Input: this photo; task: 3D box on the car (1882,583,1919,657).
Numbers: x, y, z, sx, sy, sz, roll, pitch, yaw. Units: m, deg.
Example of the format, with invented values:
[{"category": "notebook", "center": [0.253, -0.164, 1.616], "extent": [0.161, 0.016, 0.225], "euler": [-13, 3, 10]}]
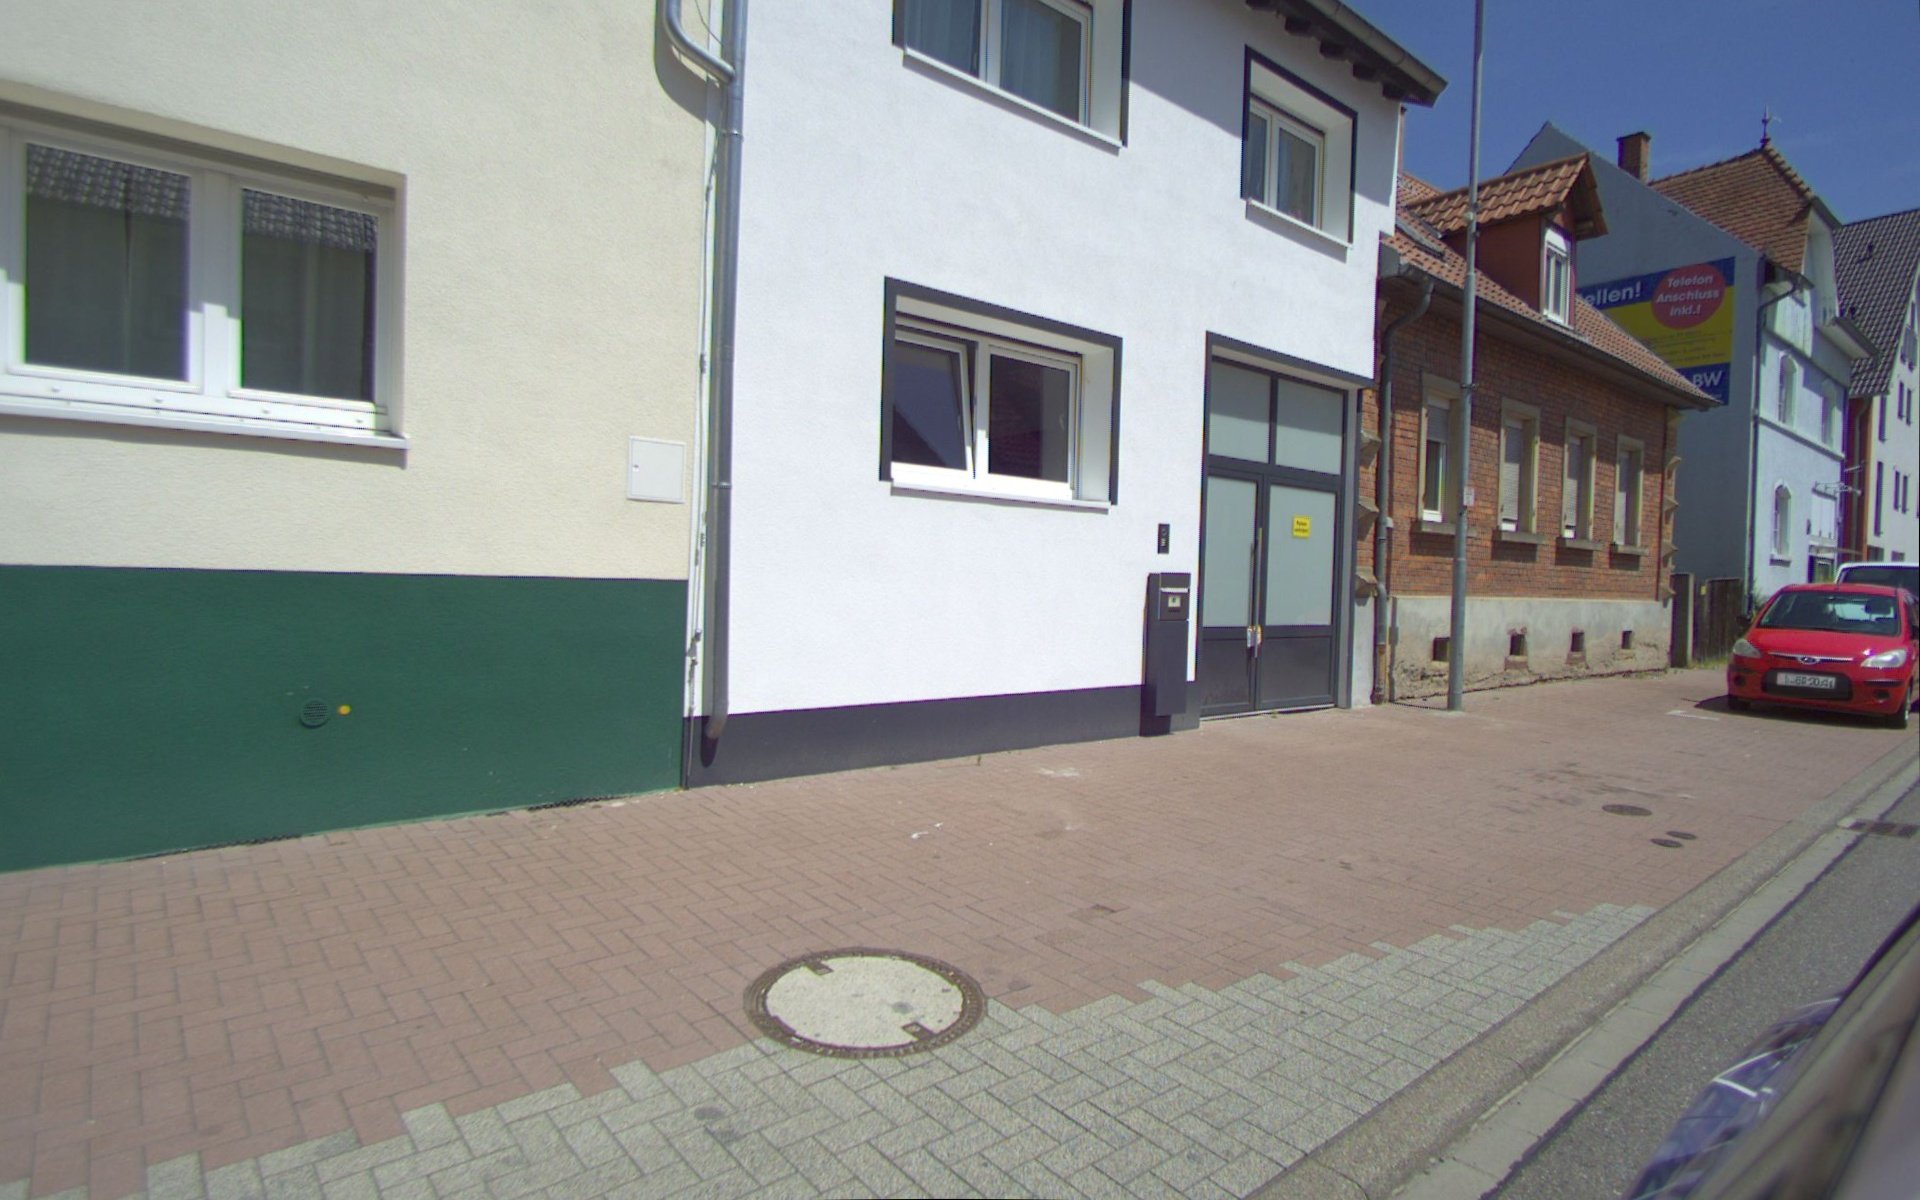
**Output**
[{"category": "car", "center": [21.477, 0.434, 21.827], "extent": [4.497, 1.484, 1.774], "euler": [0, 2, -41]}]

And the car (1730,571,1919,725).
[{"category": "car", "center": [10.708, 0.471, 12.168], "extent": [3.613, 1.547, 1.613], "euler": [0, 2, -42]}]

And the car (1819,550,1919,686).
[{"category": "car", "center": [15.751, 0.252, 16.563], "extent": [4.703, 1.994, 1.949], "euler": [0, 2, -42]}]
